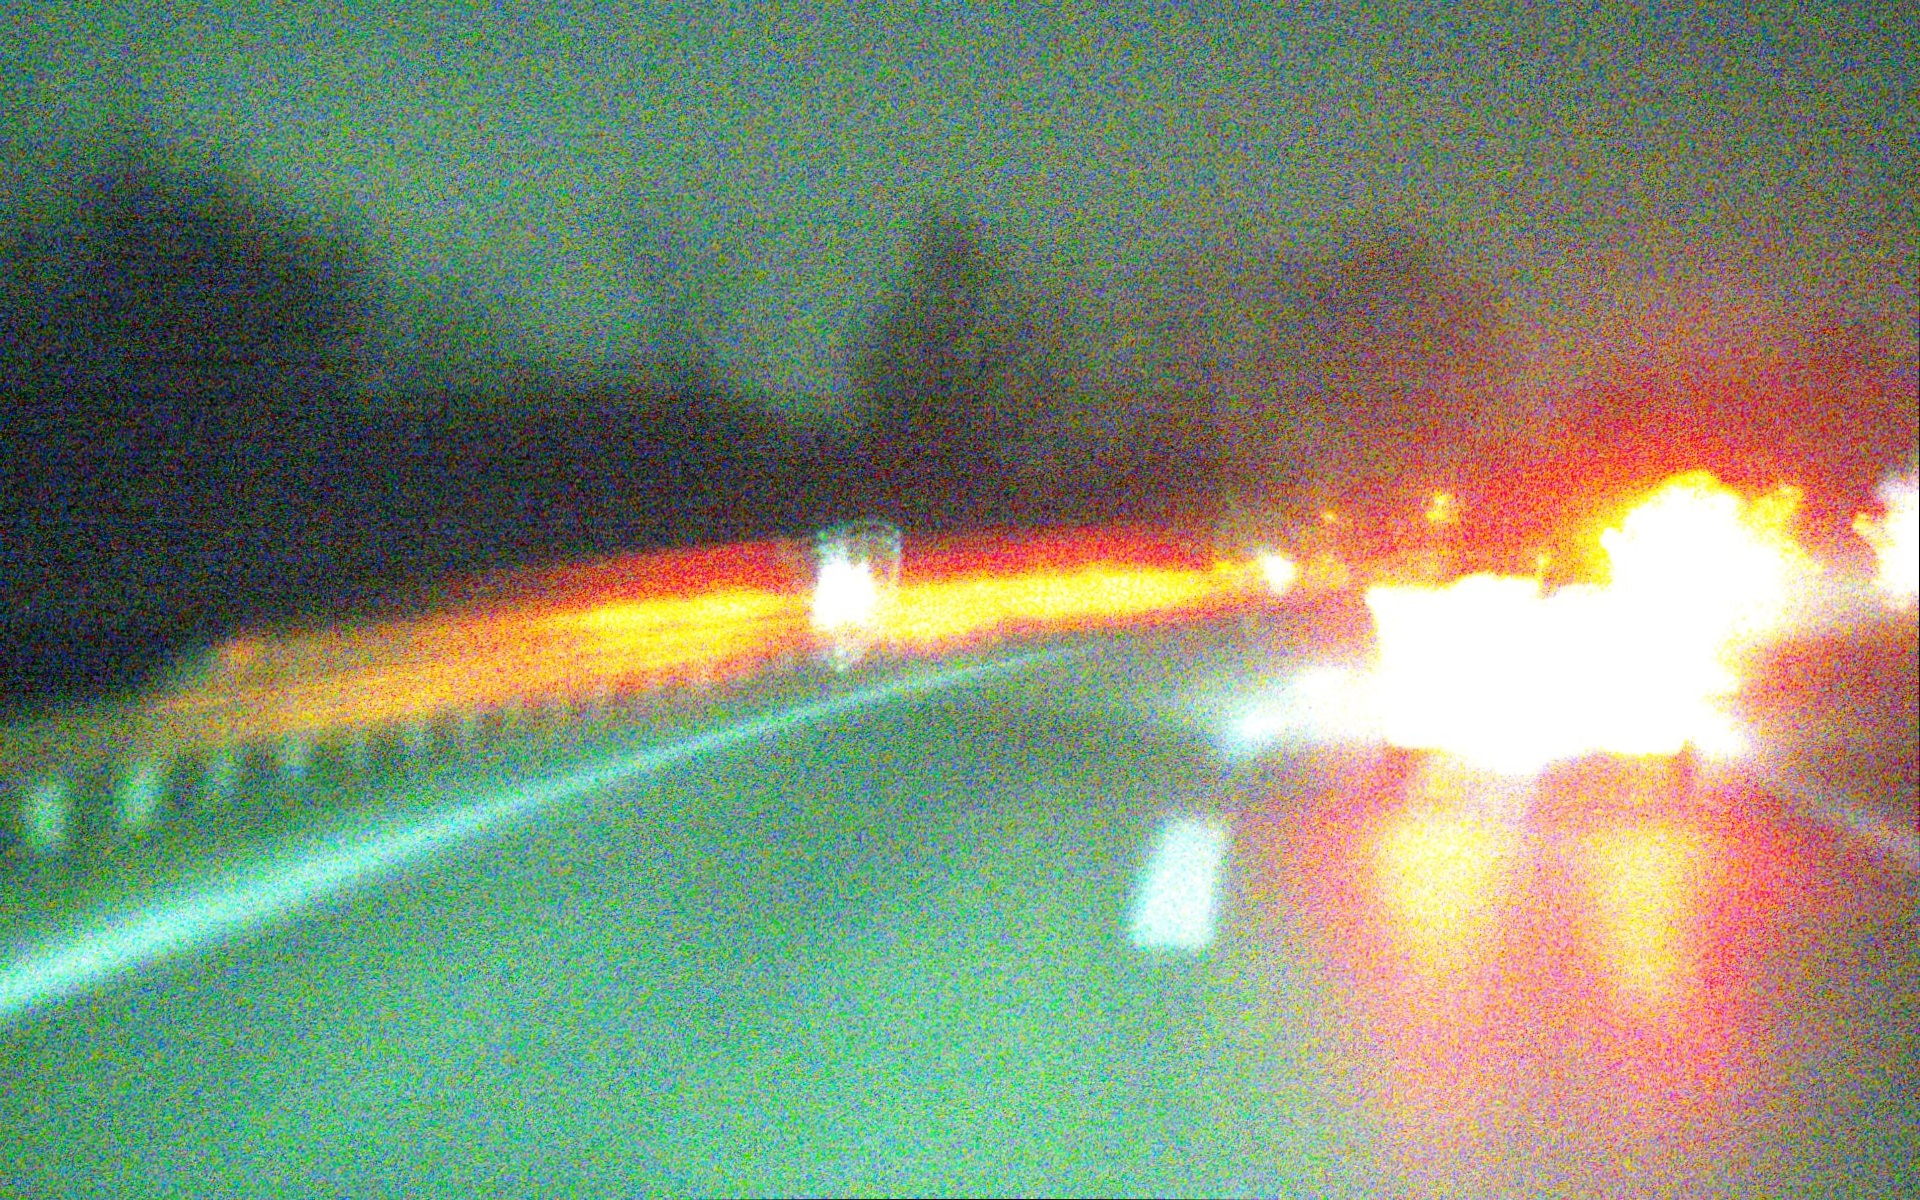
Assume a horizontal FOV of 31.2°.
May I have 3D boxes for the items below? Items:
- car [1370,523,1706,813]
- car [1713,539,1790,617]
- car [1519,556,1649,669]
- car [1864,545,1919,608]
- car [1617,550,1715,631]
[{"bbox_3d":[3.594,0.359,22.010,1.861,1.641,4.068,1,1,6],"label":"car"},{"bbox_3d":[21.433,-0.603,92.971,1.896,2.033,4.043,1,1,15],"label":"car"},{"bbox_3d":[10.307,0.203,56.571,1.861,1.702,4.066,3,0,13],"label":"car"},{"bbox_3d":[30.322,-0.778,111.196,1.897,1.991,4.042,0,1,17],"label":"car"},{"bbox_3d":[15.800,-0.226,76.797,1.896,1.714,4.043,1,1,15],"label":"car"}]
